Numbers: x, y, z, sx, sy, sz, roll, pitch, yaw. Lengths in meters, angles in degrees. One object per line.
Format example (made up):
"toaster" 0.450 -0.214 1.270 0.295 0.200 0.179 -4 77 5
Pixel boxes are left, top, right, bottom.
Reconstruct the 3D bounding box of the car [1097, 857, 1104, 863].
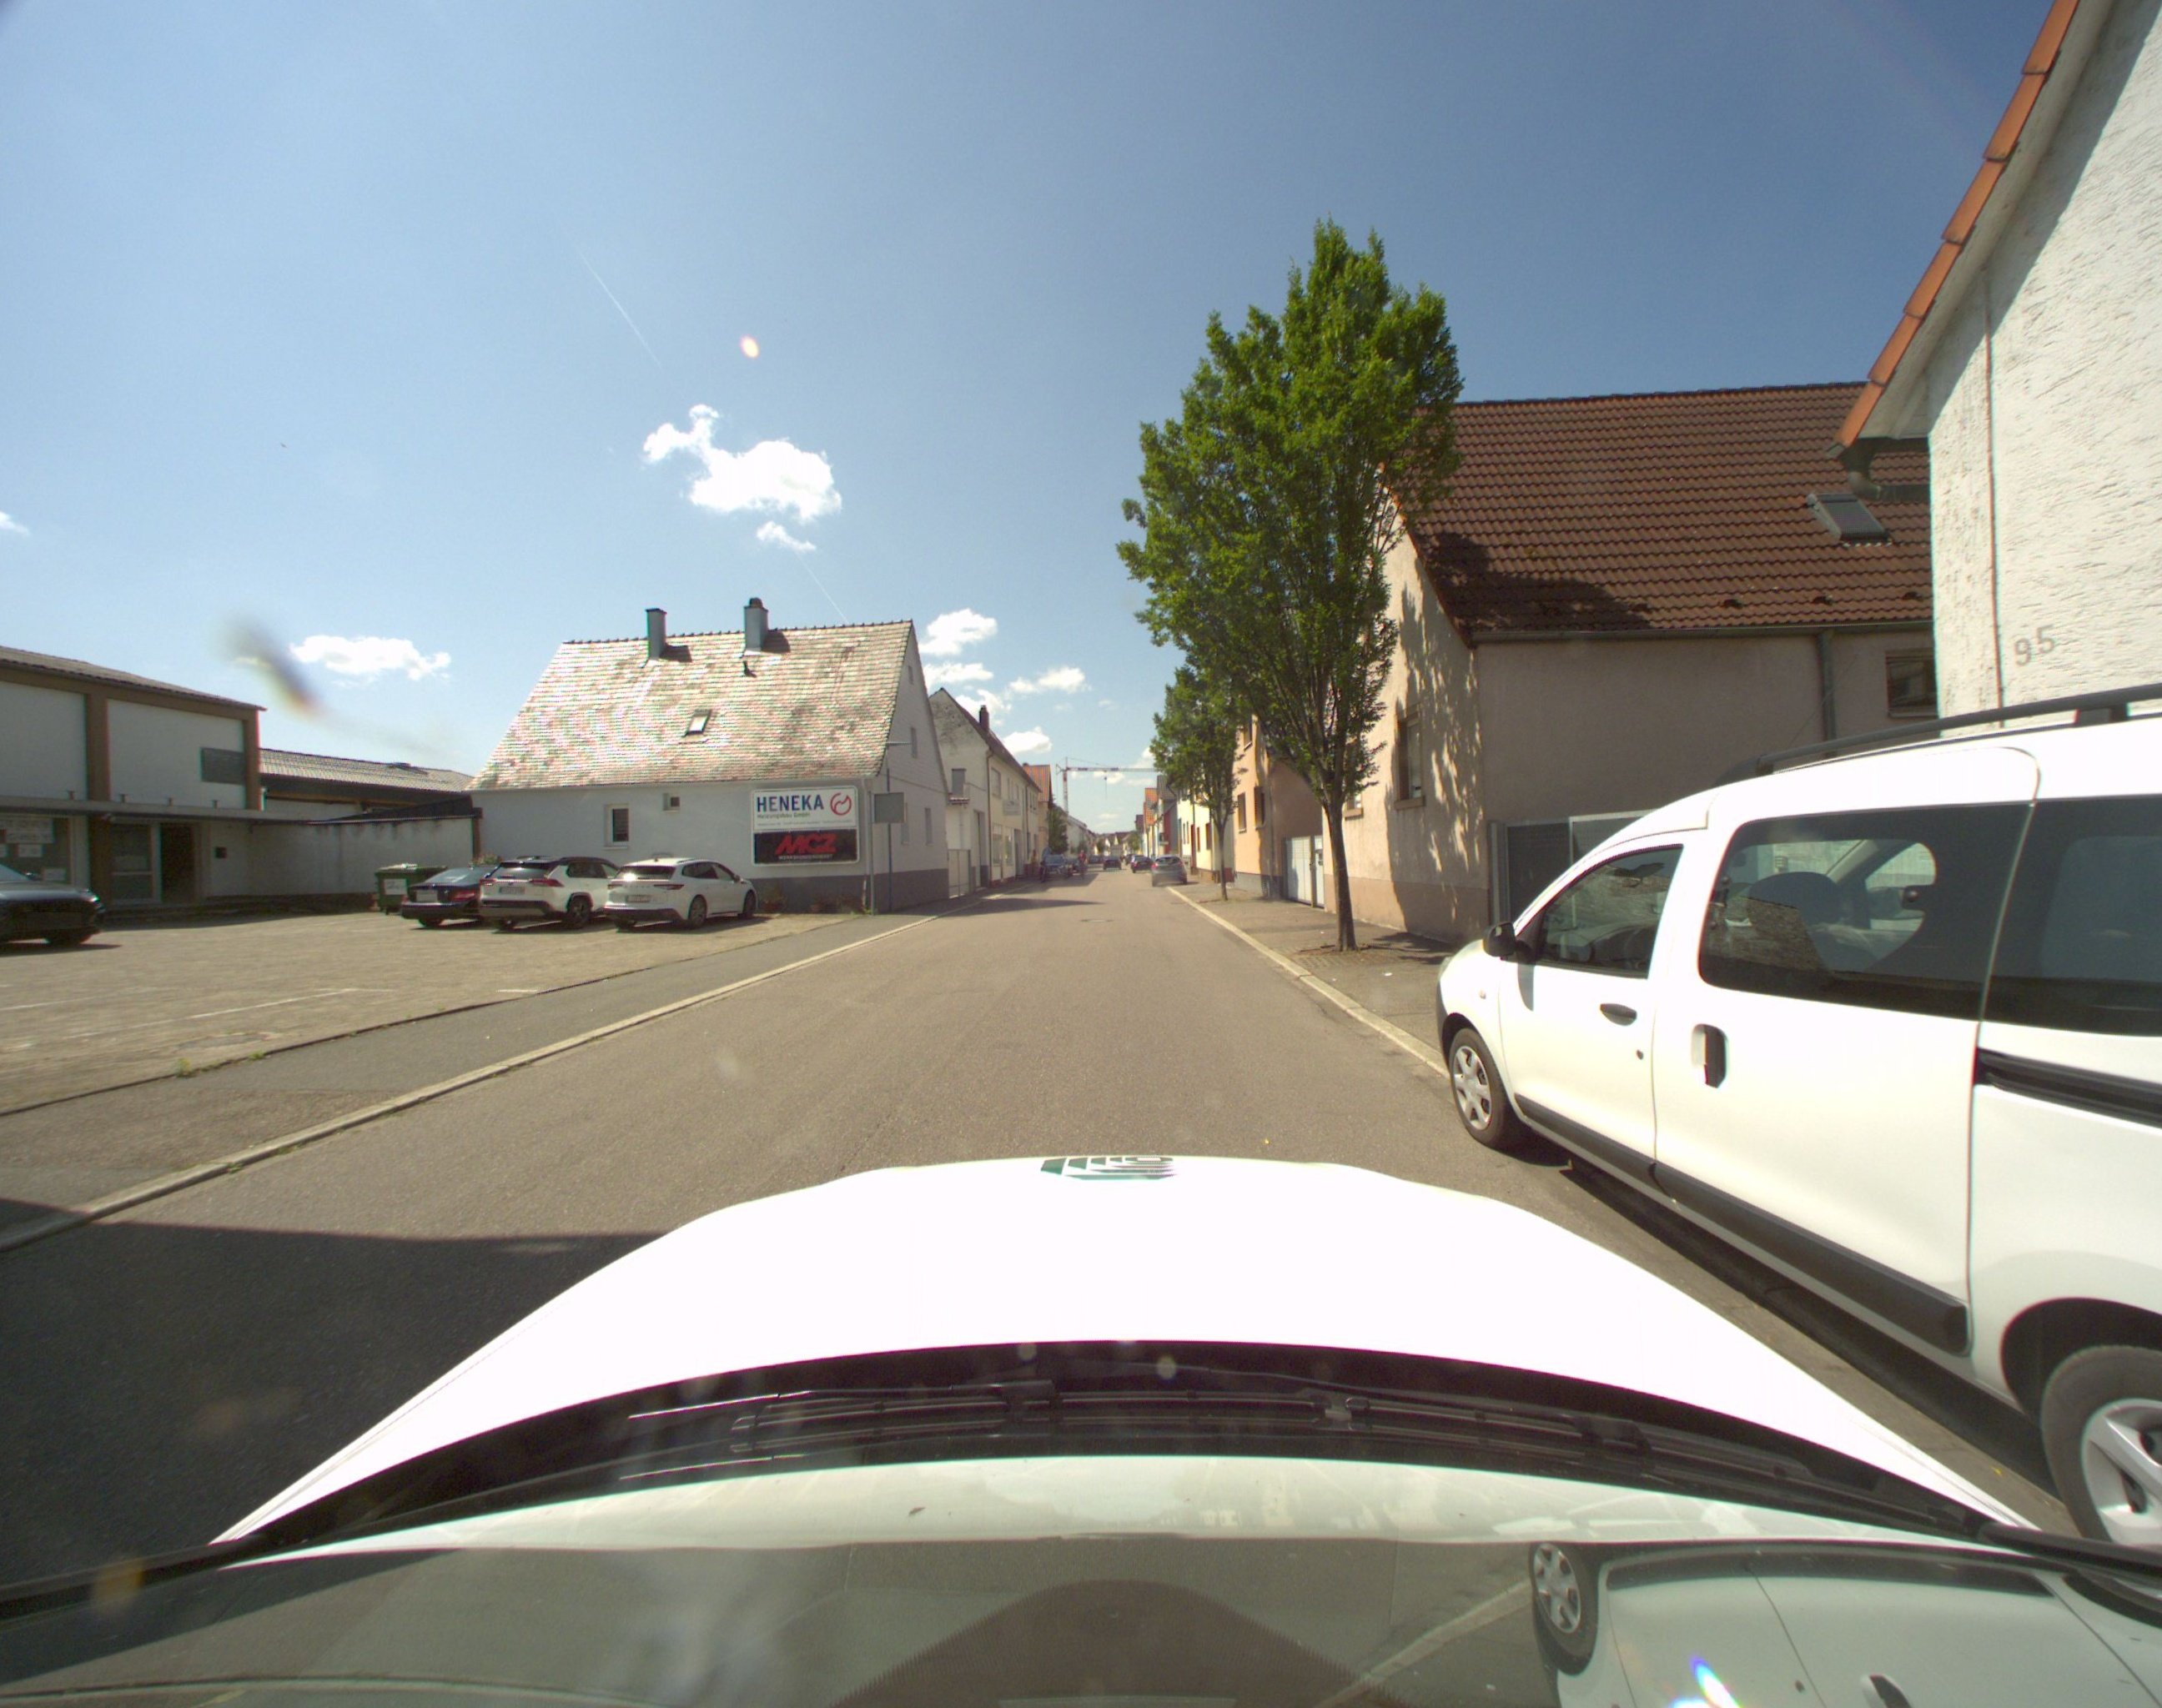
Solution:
"car" 4.695 1.442 195.241 1.716 1.555 4.175 -1 0 3

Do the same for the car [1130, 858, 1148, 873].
"car" 6.002 1.188 84.655 1.682 1.422 3.659 -2 0 2

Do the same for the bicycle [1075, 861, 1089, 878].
"bicycle" 0.091 1.022 53.624 0.739 1.047 1.943 -1 0 6

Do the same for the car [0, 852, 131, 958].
"car" -19.825 0.871 13.998 4.662 1.725 2.038 -1 0 2

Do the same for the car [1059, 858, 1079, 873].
"car" -1.131 1.085 78.727 1.754 1.374 4.068 -1 0 2

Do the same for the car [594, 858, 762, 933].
"car" -9.534 0.898 19.739 1.768 1.570 4.479 -1 0 1

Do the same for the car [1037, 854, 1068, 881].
"car" -1.826 0.878 53.951 1.711 1.639 4.150 -4 0 1

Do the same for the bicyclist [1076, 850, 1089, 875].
"bicyclist" 0.083 0.569 53.649 0.743 1.637 0.958 -1 0 5

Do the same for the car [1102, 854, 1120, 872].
"car" 3.069 0.906 83.337 1.776 1.753 4.001 -3 -1 1

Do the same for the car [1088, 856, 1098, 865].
"car" 2.224 1.207 148.918 1.752 1.525 4.291 -2 0 2

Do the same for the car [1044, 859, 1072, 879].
"car" -1.671 1.088 60.317 1.691 1.411 4.393 -2 0 3

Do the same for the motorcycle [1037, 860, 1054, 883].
"motorcycle" -2.157 1.062 49.405 0.805 1.312 2.106 -2 0 2

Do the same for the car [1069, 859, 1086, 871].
"car" -0.405 1.325 99.632 1.760 1.460 4.441 -2 0 4

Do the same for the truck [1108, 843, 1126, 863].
"truck" 7.423 -0.104 169.592 3.367 3.865 13.928 -3 -1 1

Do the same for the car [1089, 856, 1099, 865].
"car" 2.528 1.182 155.953 1.647 1.609 4.063 -2 0 2

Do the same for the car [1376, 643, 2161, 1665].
"car" 2.764 0.498 2.846 1.682 1.842 4.765 -4 0 1

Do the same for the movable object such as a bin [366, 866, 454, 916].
"movable object such as a bin" -18.425 1.007 22.396 1.382 1.300 1.213 -1 0 4

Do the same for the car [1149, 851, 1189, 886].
"car" 4.269 0.657 39.367 1.713 1.481 3.756 -5 0 6

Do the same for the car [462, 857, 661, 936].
"car" -12.178 0.915 19.532 1.767 1.619 4.481 -1 0 2

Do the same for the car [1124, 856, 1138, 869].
"car" 7.167 1.164 116.782 1.723 1.717 4.275 -2 0 0

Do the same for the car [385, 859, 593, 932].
"car" -14.439 0.932 20.261 1.767 1.570 4.481 -1 0 2

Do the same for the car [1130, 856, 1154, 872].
"car" 5.035 0.822 67.697 1.808 1.276 4.150 -2 0 3
